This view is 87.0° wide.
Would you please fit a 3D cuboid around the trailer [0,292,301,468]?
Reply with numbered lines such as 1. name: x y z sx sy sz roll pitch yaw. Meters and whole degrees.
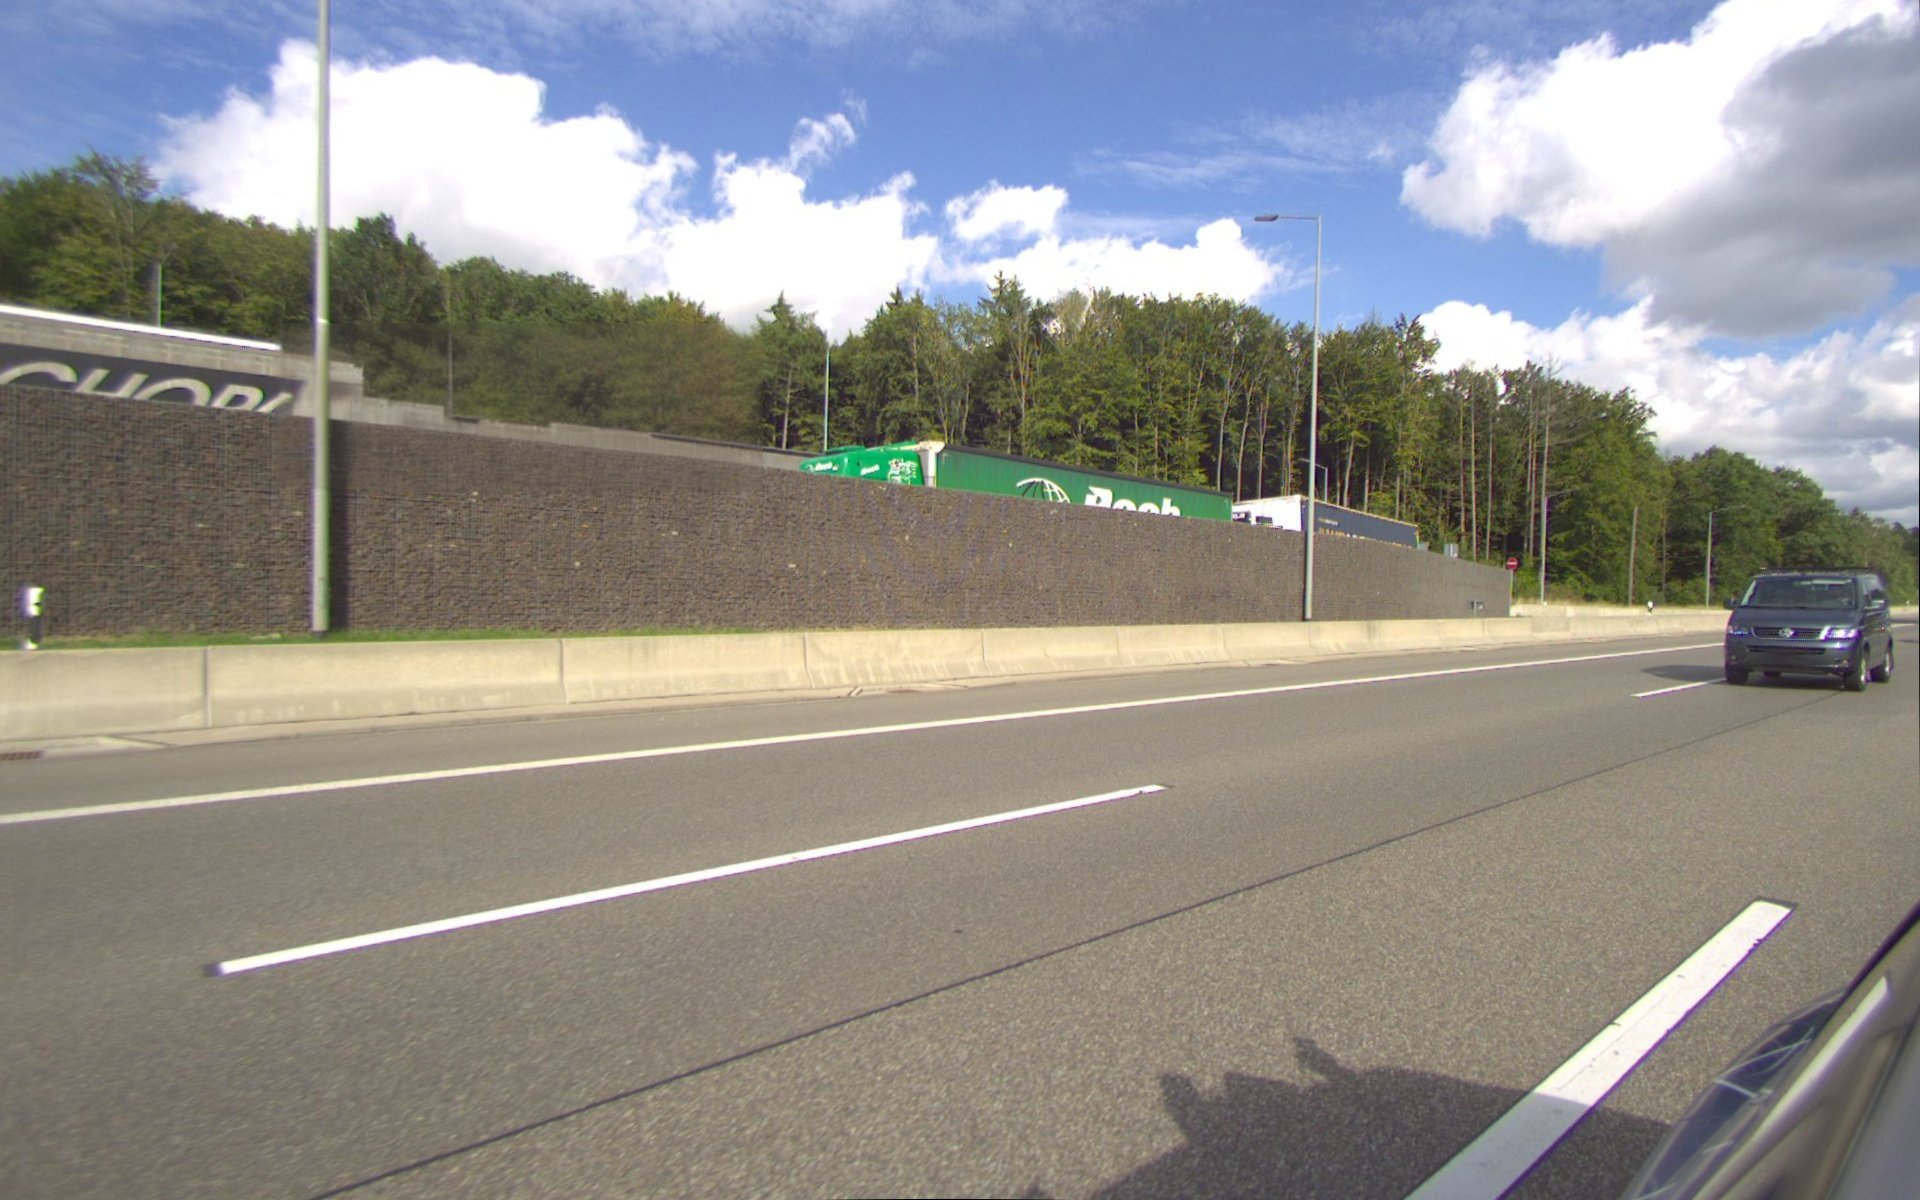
1. trailer: -13.499 -3.246 15.092 5.903 2.038 2.048 -3 2 -41

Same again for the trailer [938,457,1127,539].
1. trailer: 2.182 -2.834 29.118 5.676 2.038 1.997 -3 2 -41

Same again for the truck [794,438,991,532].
1. truck: -1.652 -2.836 25.831 4.697 2.038 2.049 -2 2 -40

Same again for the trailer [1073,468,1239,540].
1. trailer: 6.490 -3.014 32.980 6.087 2.038 1.997 -3 2 -41

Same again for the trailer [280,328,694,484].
1. trailer: -8.718 -3.468 19.317 6.845 2.038 2.054 -3 2 -41

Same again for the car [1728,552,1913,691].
1. car: 15.735 0.289 18.413 4.876 2.192 1.925 -1 1 -42
